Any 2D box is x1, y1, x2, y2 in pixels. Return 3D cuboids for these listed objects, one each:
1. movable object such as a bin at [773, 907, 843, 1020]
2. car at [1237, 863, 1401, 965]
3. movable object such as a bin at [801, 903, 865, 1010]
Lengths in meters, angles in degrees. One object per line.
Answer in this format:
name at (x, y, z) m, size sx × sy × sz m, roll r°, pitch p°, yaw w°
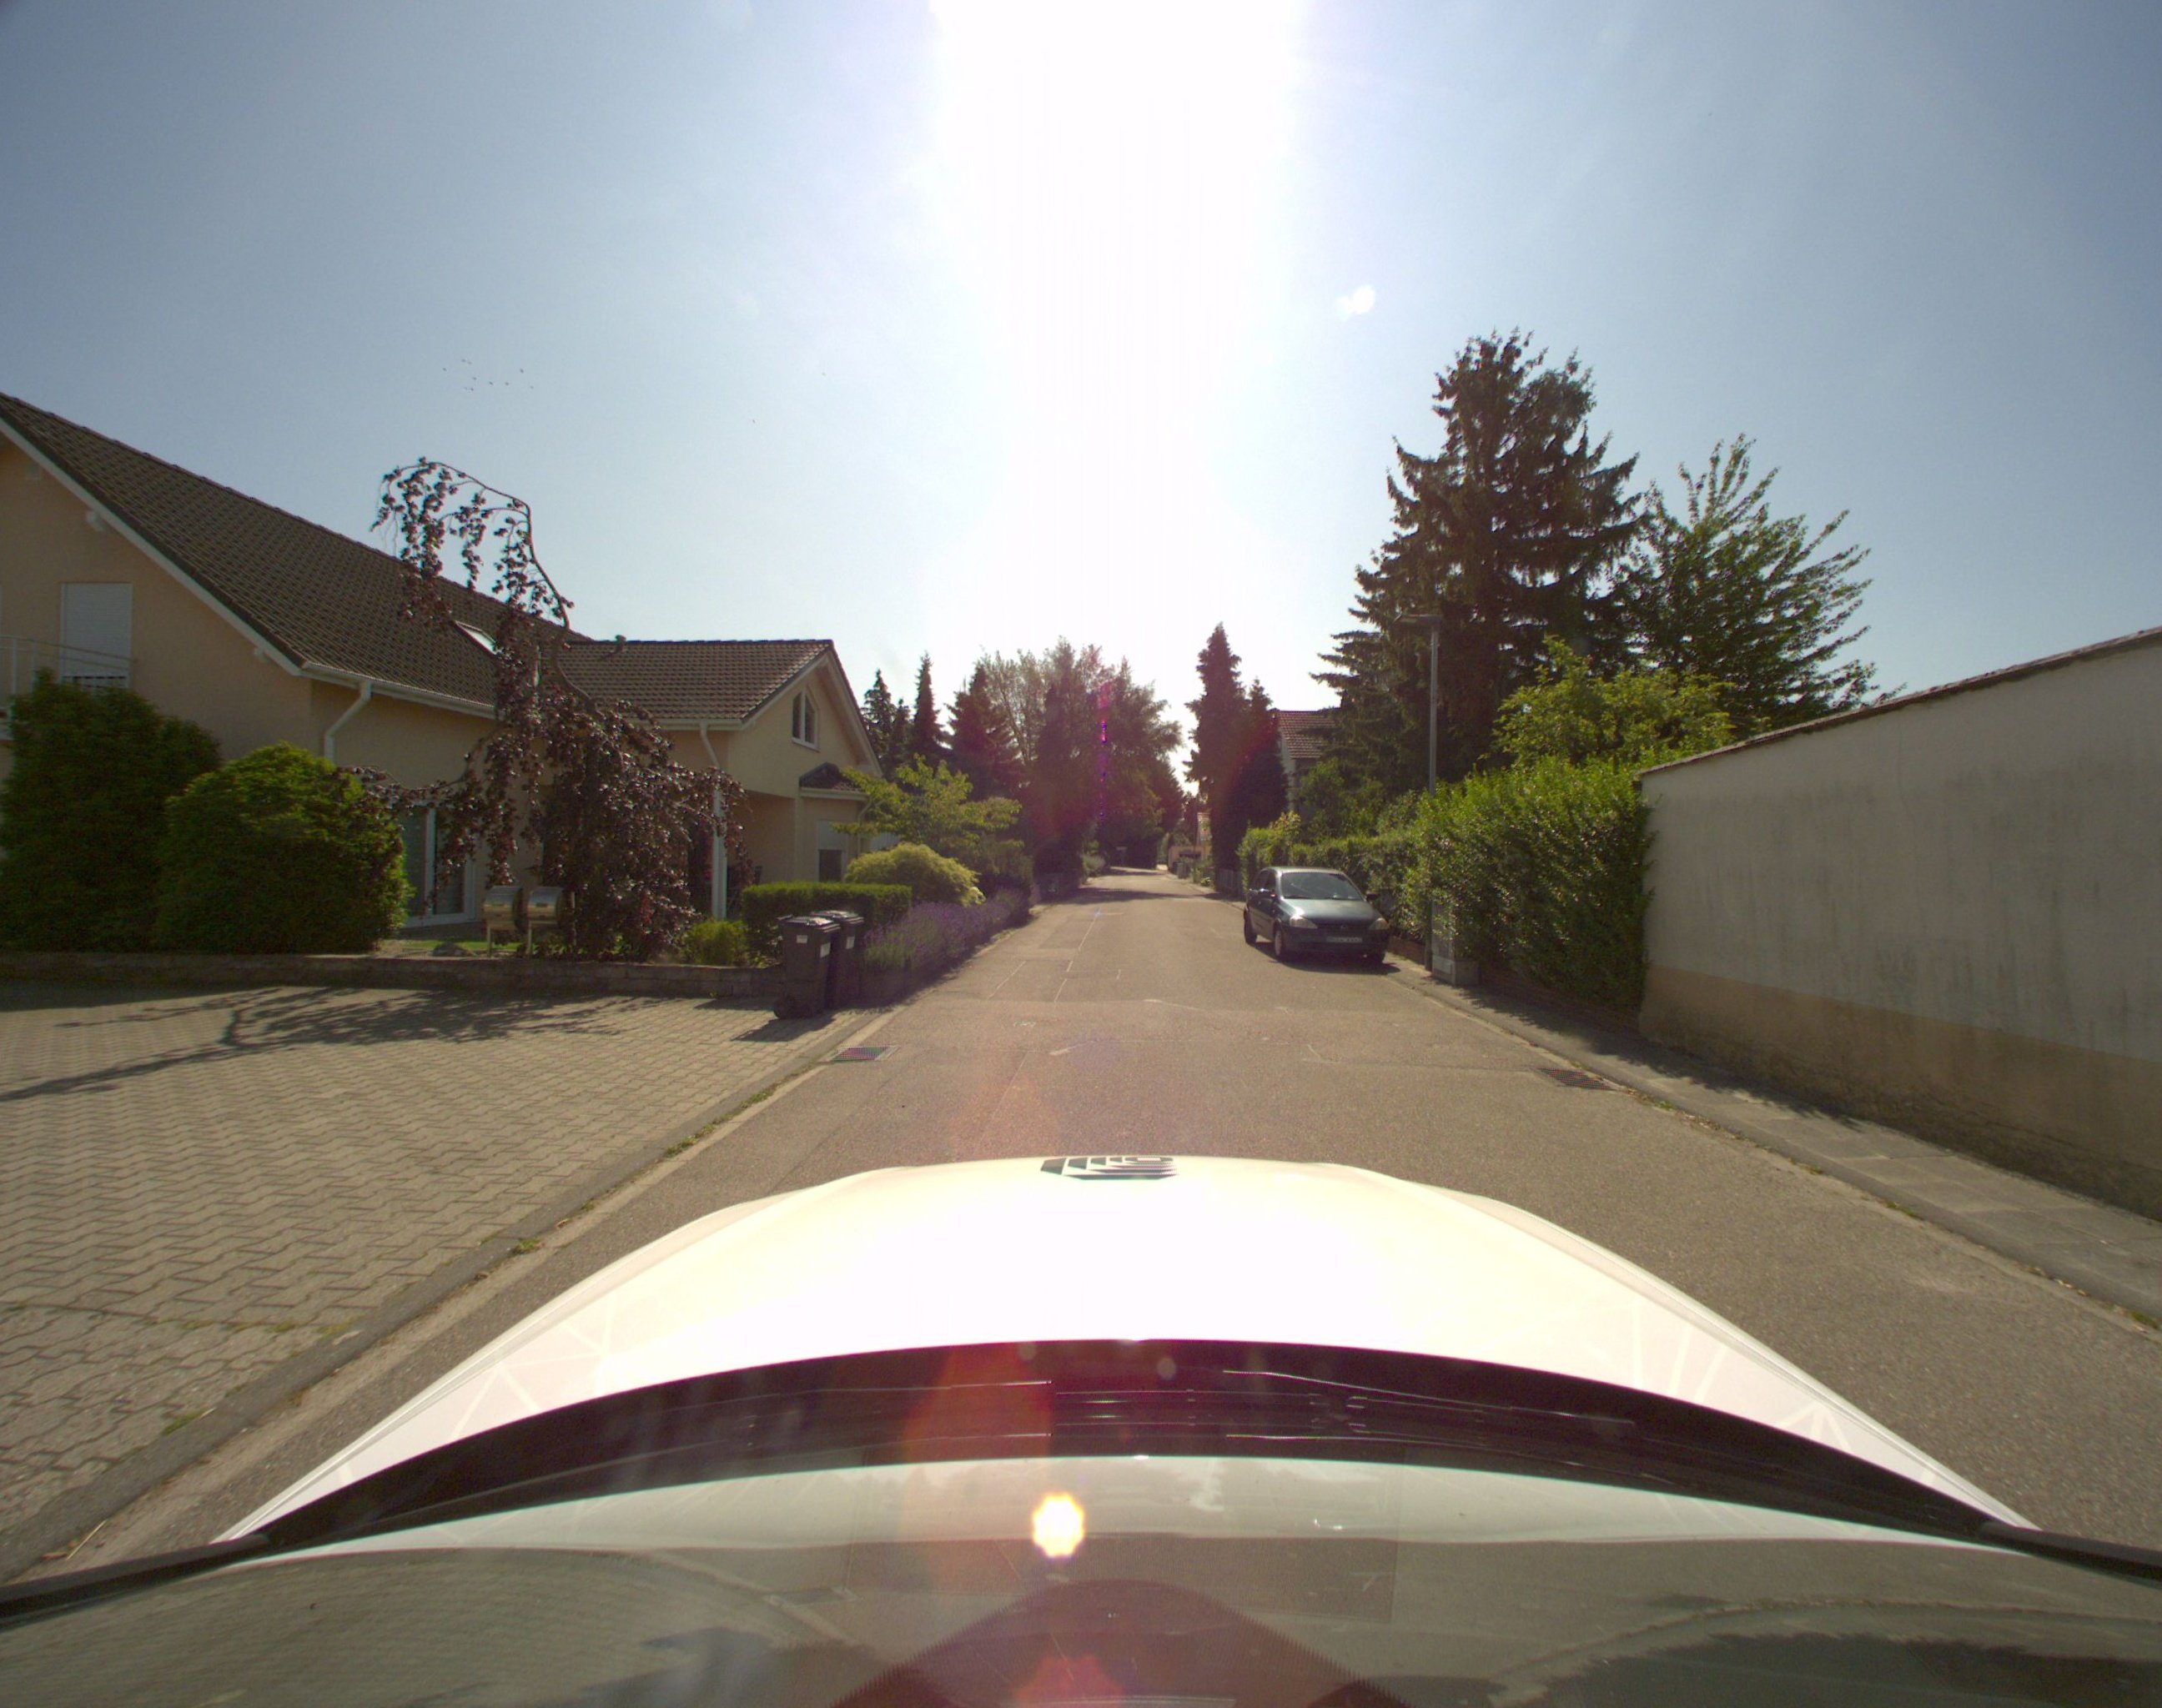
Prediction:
movable object such as a bin at (-2.619, 1.033, 7.834) m, size 0.492 × 1.024 × 0.448 m, roll 0°, pitch -1°, yaw 3°
car at (3.795, 0.880, 13.663) m, size 1.696 × 1.399 × 4.002 m, roll 2°, pitch -1°, yaw 2°
movable object such as a bin at (-2.514, 1.030, 8.293) m, size 0.492 × 1.024 × 0.448 m, roll 0°, pitch -1°, yaw 3°
